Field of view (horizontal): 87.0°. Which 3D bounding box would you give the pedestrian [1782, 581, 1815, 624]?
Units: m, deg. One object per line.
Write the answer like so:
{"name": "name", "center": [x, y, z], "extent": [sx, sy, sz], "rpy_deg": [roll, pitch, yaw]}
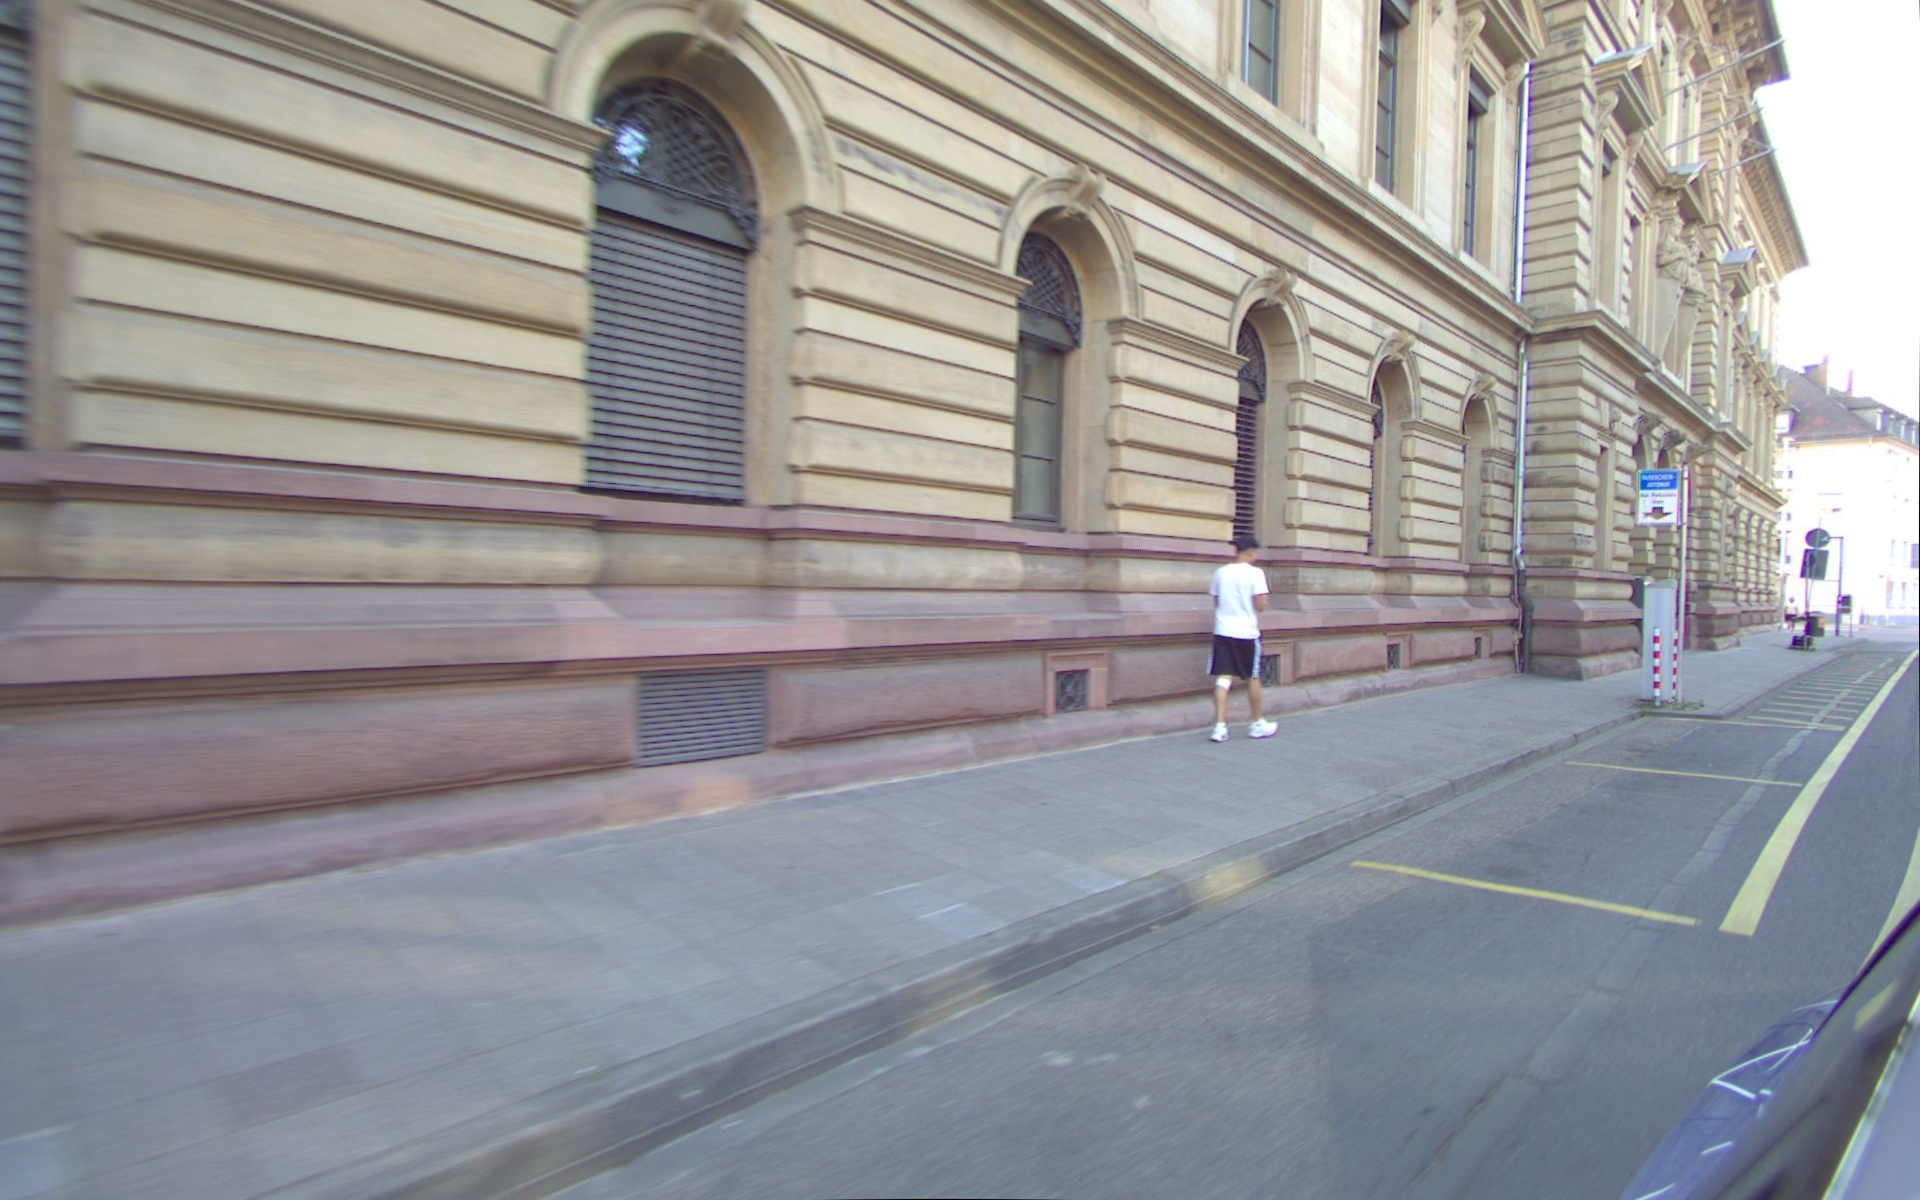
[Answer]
{"name": "pedestrian", "center": [40.723, 0.126, 49.152], "extent": [0.973, 2.039, 0.789], "rpy_deg": [1, 0, -21]}

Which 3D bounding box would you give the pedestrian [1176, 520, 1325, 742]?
{"name": "pedestrian", "center": [2.536, 0.251, 8.833], "extent": [1.019, 1.788, 0.818], "rpy_deg": [1, -1, -40]}
